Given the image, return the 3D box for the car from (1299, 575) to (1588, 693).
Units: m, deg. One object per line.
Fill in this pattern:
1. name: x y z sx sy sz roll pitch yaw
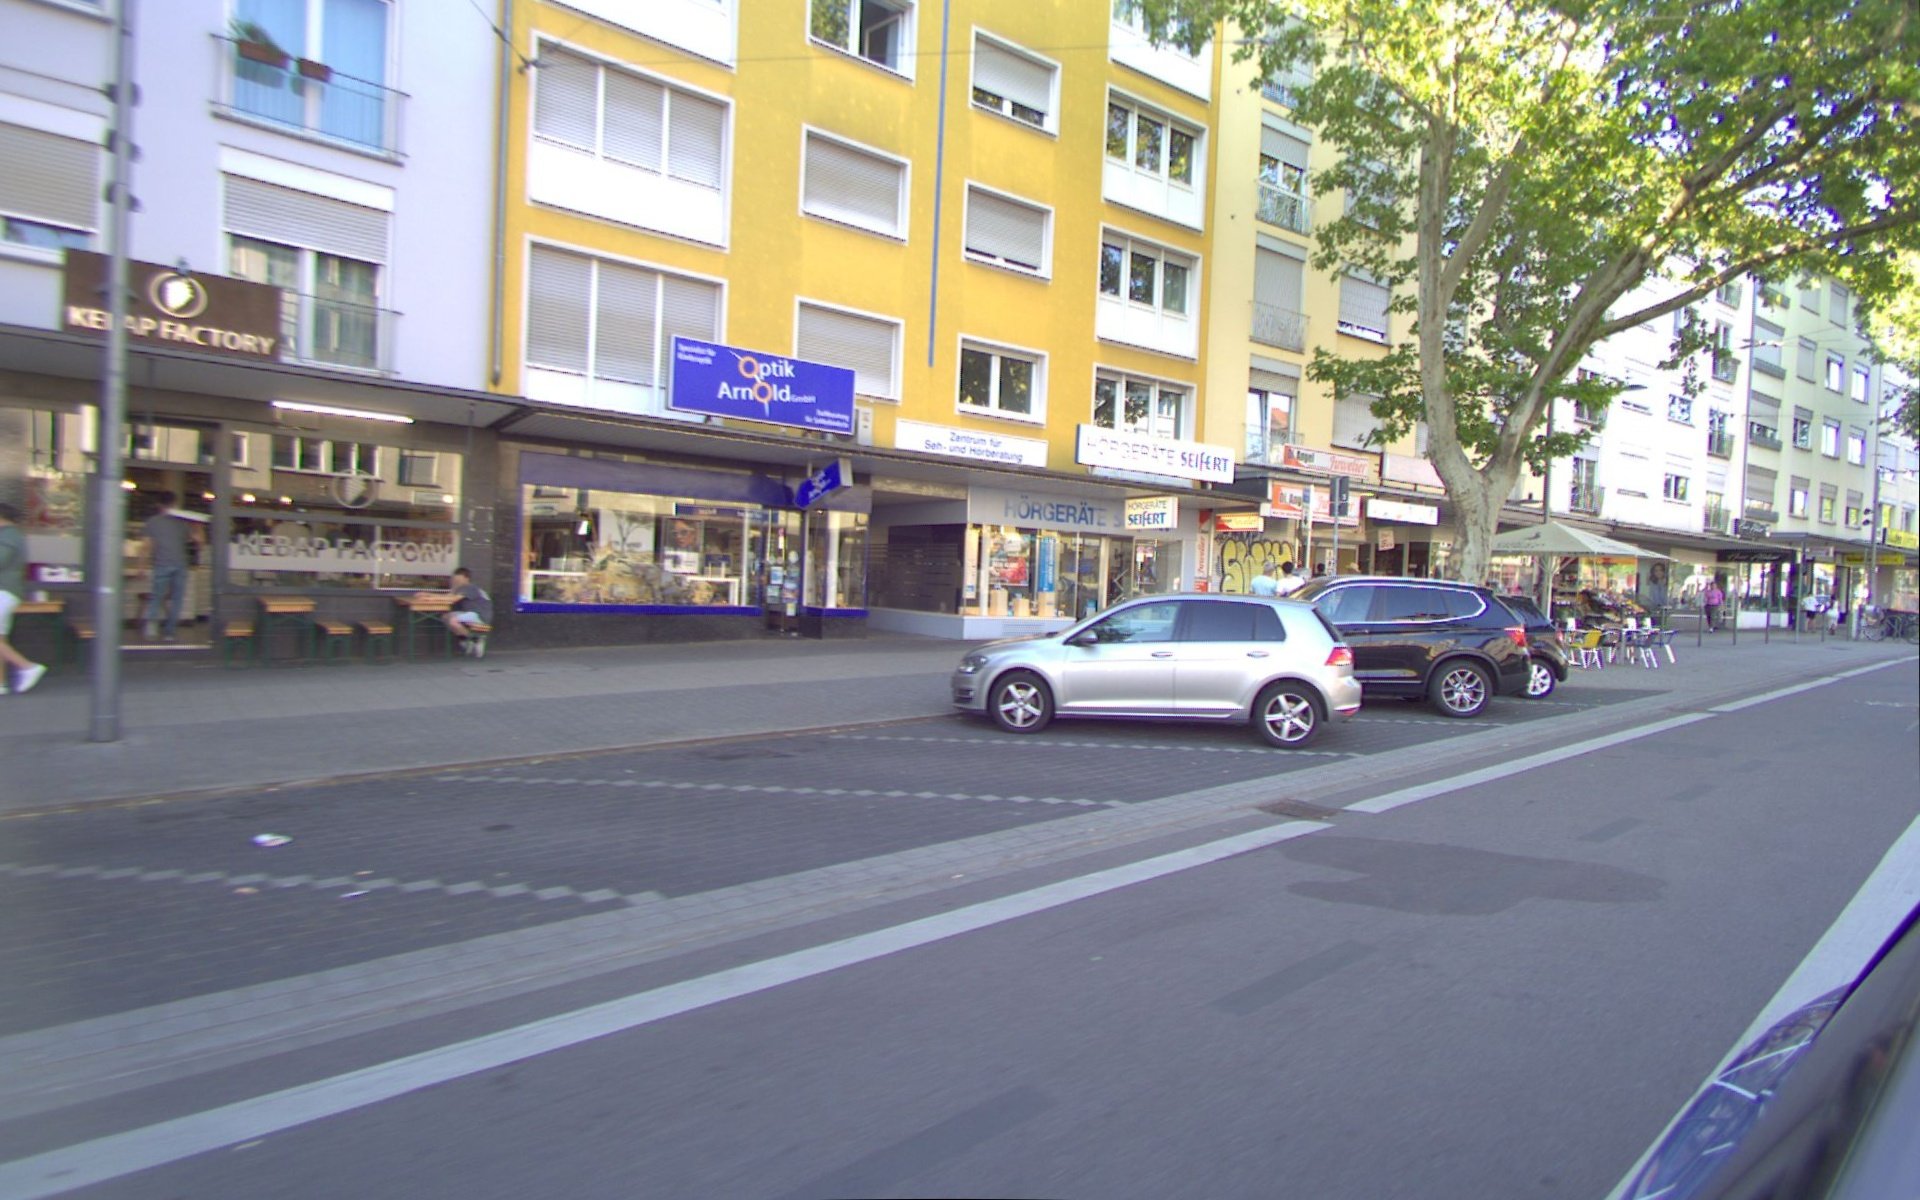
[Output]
1. car: 7.165 0.452 15.350 3.549 1.559 1.738 2 2 9

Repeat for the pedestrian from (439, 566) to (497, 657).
1. pedestrian: -6.538 0.140 13.441 0.614 1.171 0.419 0 2 -37

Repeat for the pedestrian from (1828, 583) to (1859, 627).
1. pedestrian: 33.149 0.189 37.981 0.615 1.605 0.638 0 4 -35

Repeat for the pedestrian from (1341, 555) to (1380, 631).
1. pedestrian: 9.839 -0.179 24.864 0.614 1.826 0.638 1 1 -5

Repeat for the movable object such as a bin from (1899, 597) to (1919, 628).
1. movable object such as a bin: 35.887 0.470 37.952 0.632 1.083 0.726 0 8 -35

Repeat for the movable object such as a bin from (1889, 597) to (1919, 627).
1. movable object such as a bin: 36.069 0.450 38.553 0.630 1.085 0.726 1 3 -15

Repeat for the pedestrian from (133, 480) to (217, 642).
1. pedestrian: -9.703 -0.478 12.501 0.725 1.900 0.911 0 2 -44

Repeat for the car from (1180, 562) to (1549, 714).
1. car: 5.020 0.411 13.145 4.083 1.701 1.805 2 2 9

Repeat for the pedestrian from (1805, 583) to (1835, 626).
1. pedestrian: 32.751 0.172 38.534 0.615 1.605 0.624 0 4 -35

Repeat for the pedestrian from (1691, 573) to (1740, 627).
1. pedestrian: 26.287 -0.020 35.219 1.111 1.784 0.972 0 3 -33

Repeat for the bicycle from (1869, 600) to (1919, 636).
1. bicycle: 32.892 0.629 35.105 0.507 1.118 1.918 1 4 -27

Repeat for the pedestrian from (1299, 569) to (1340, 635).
1. pedestrian: 8.837 0.051 24.894 0.624 1.564 0.628 1 5 -10

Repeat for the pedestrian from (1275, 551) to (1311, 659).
1. pedestrian: 5.863 0.078 17.797 0.511 1.855 0.471 2 1 23

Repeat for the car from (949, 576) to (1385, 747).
1. car: 2.088 0.539 10.707 4.113 1.469 1.804 2 2 12

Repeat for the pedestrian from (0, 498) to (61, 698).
1. pedestrian: -8.994 -0.035 9.479 0.773 1.812 0.710 1 5 -35

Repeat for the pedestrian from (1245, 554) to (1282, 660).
1. pedestrian: 5.439 0.107 18.129 0.512 1.855 0.470 2 1 28
